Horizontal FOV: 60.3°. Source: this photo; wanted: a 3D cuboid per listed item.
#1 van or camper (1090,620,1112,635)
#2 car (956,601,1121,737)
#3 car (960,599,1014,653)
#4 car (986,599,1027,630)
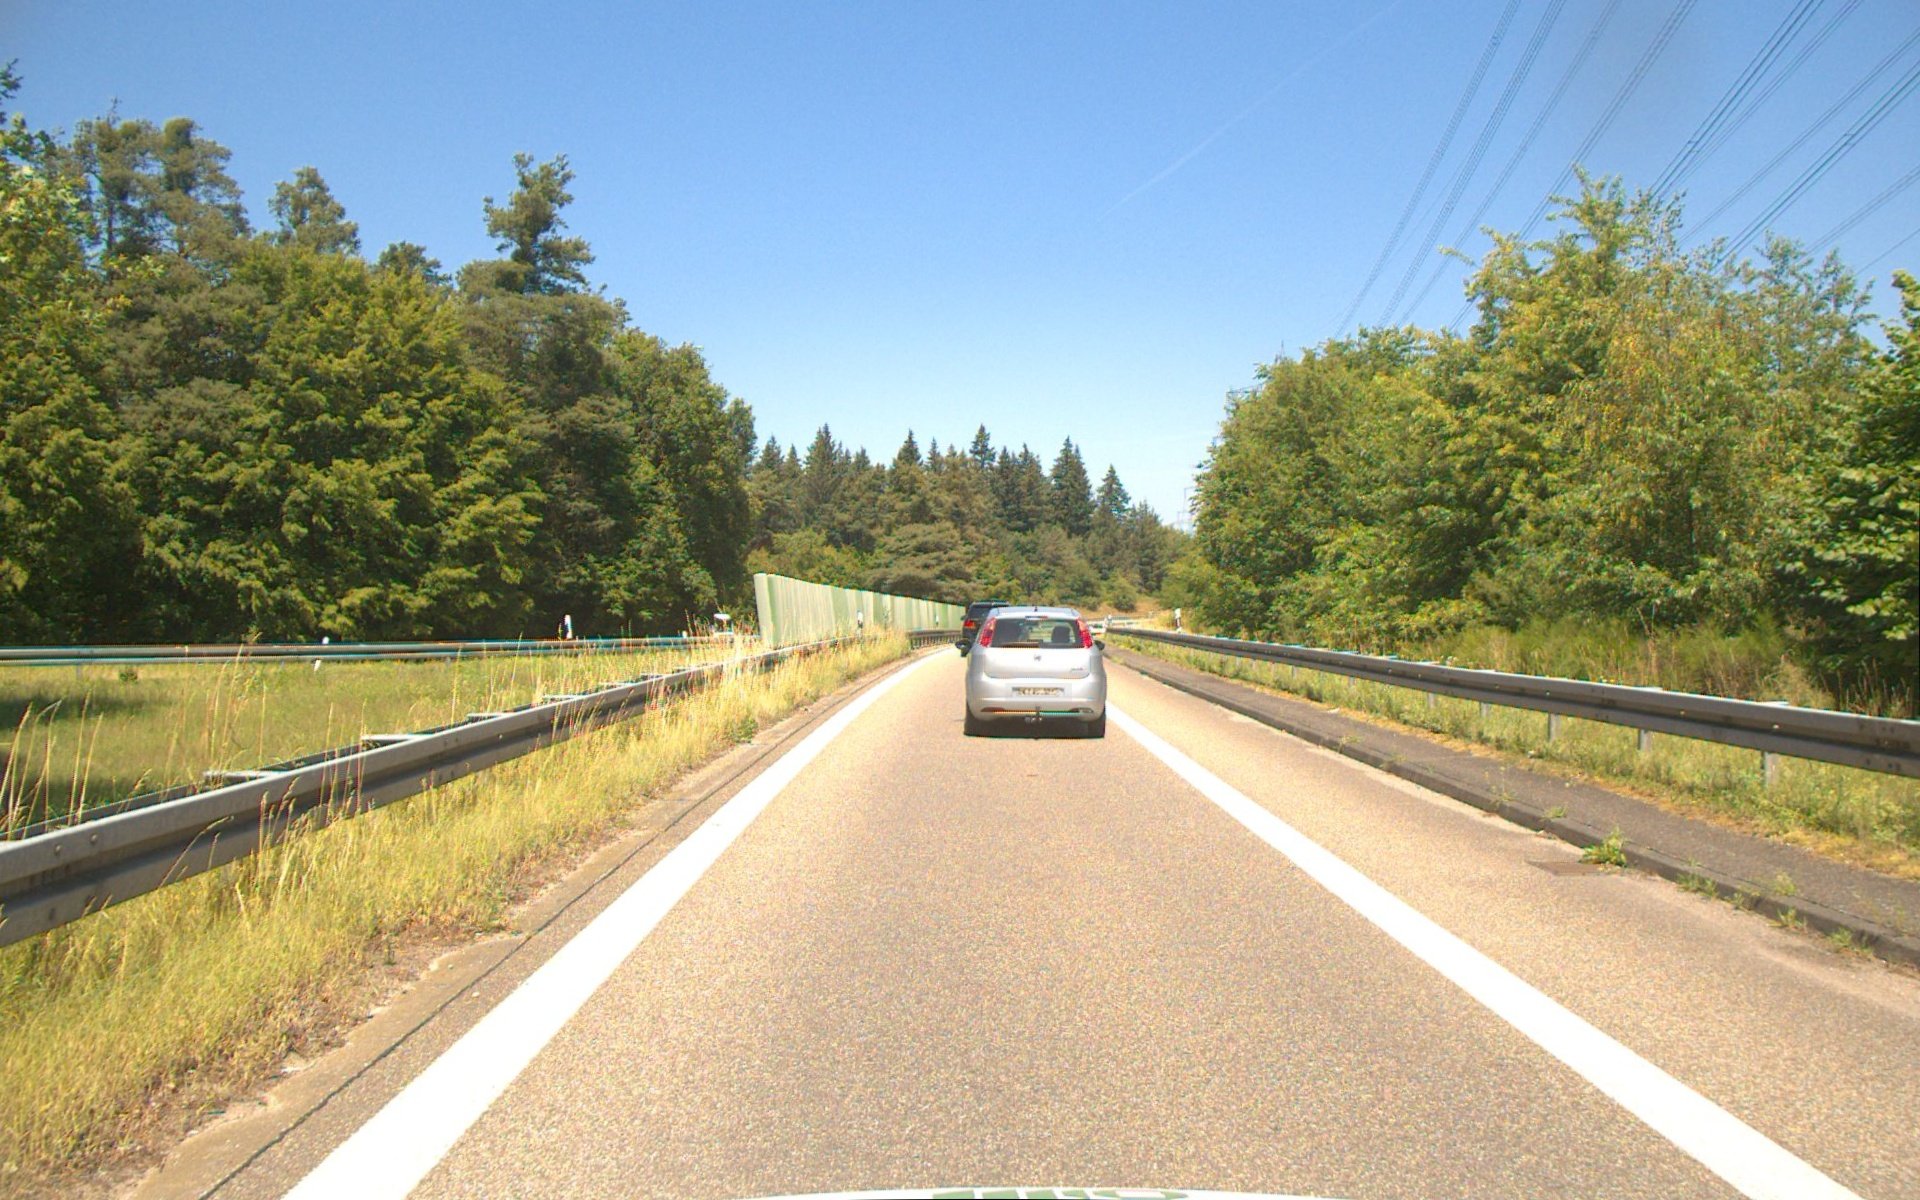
[{"bbox_3d":[14.832,2.877,174.035,1.768,1.512,4.003,0,0,13],"label":"van or camper"},{"bbox_3d":[0.872,0.775,20.111,1.672,1.508,3.395,0,0,-3],"label":"car"},{"bbox_3d":[0.855,0.821,53.605,1.671,1.705,3.398,0,0,0],"label":"car"},{"bbox_3d":[2.168,0.673,78.190,1.672,1.473,3.395,0,0,-3],"label":"car"}]
